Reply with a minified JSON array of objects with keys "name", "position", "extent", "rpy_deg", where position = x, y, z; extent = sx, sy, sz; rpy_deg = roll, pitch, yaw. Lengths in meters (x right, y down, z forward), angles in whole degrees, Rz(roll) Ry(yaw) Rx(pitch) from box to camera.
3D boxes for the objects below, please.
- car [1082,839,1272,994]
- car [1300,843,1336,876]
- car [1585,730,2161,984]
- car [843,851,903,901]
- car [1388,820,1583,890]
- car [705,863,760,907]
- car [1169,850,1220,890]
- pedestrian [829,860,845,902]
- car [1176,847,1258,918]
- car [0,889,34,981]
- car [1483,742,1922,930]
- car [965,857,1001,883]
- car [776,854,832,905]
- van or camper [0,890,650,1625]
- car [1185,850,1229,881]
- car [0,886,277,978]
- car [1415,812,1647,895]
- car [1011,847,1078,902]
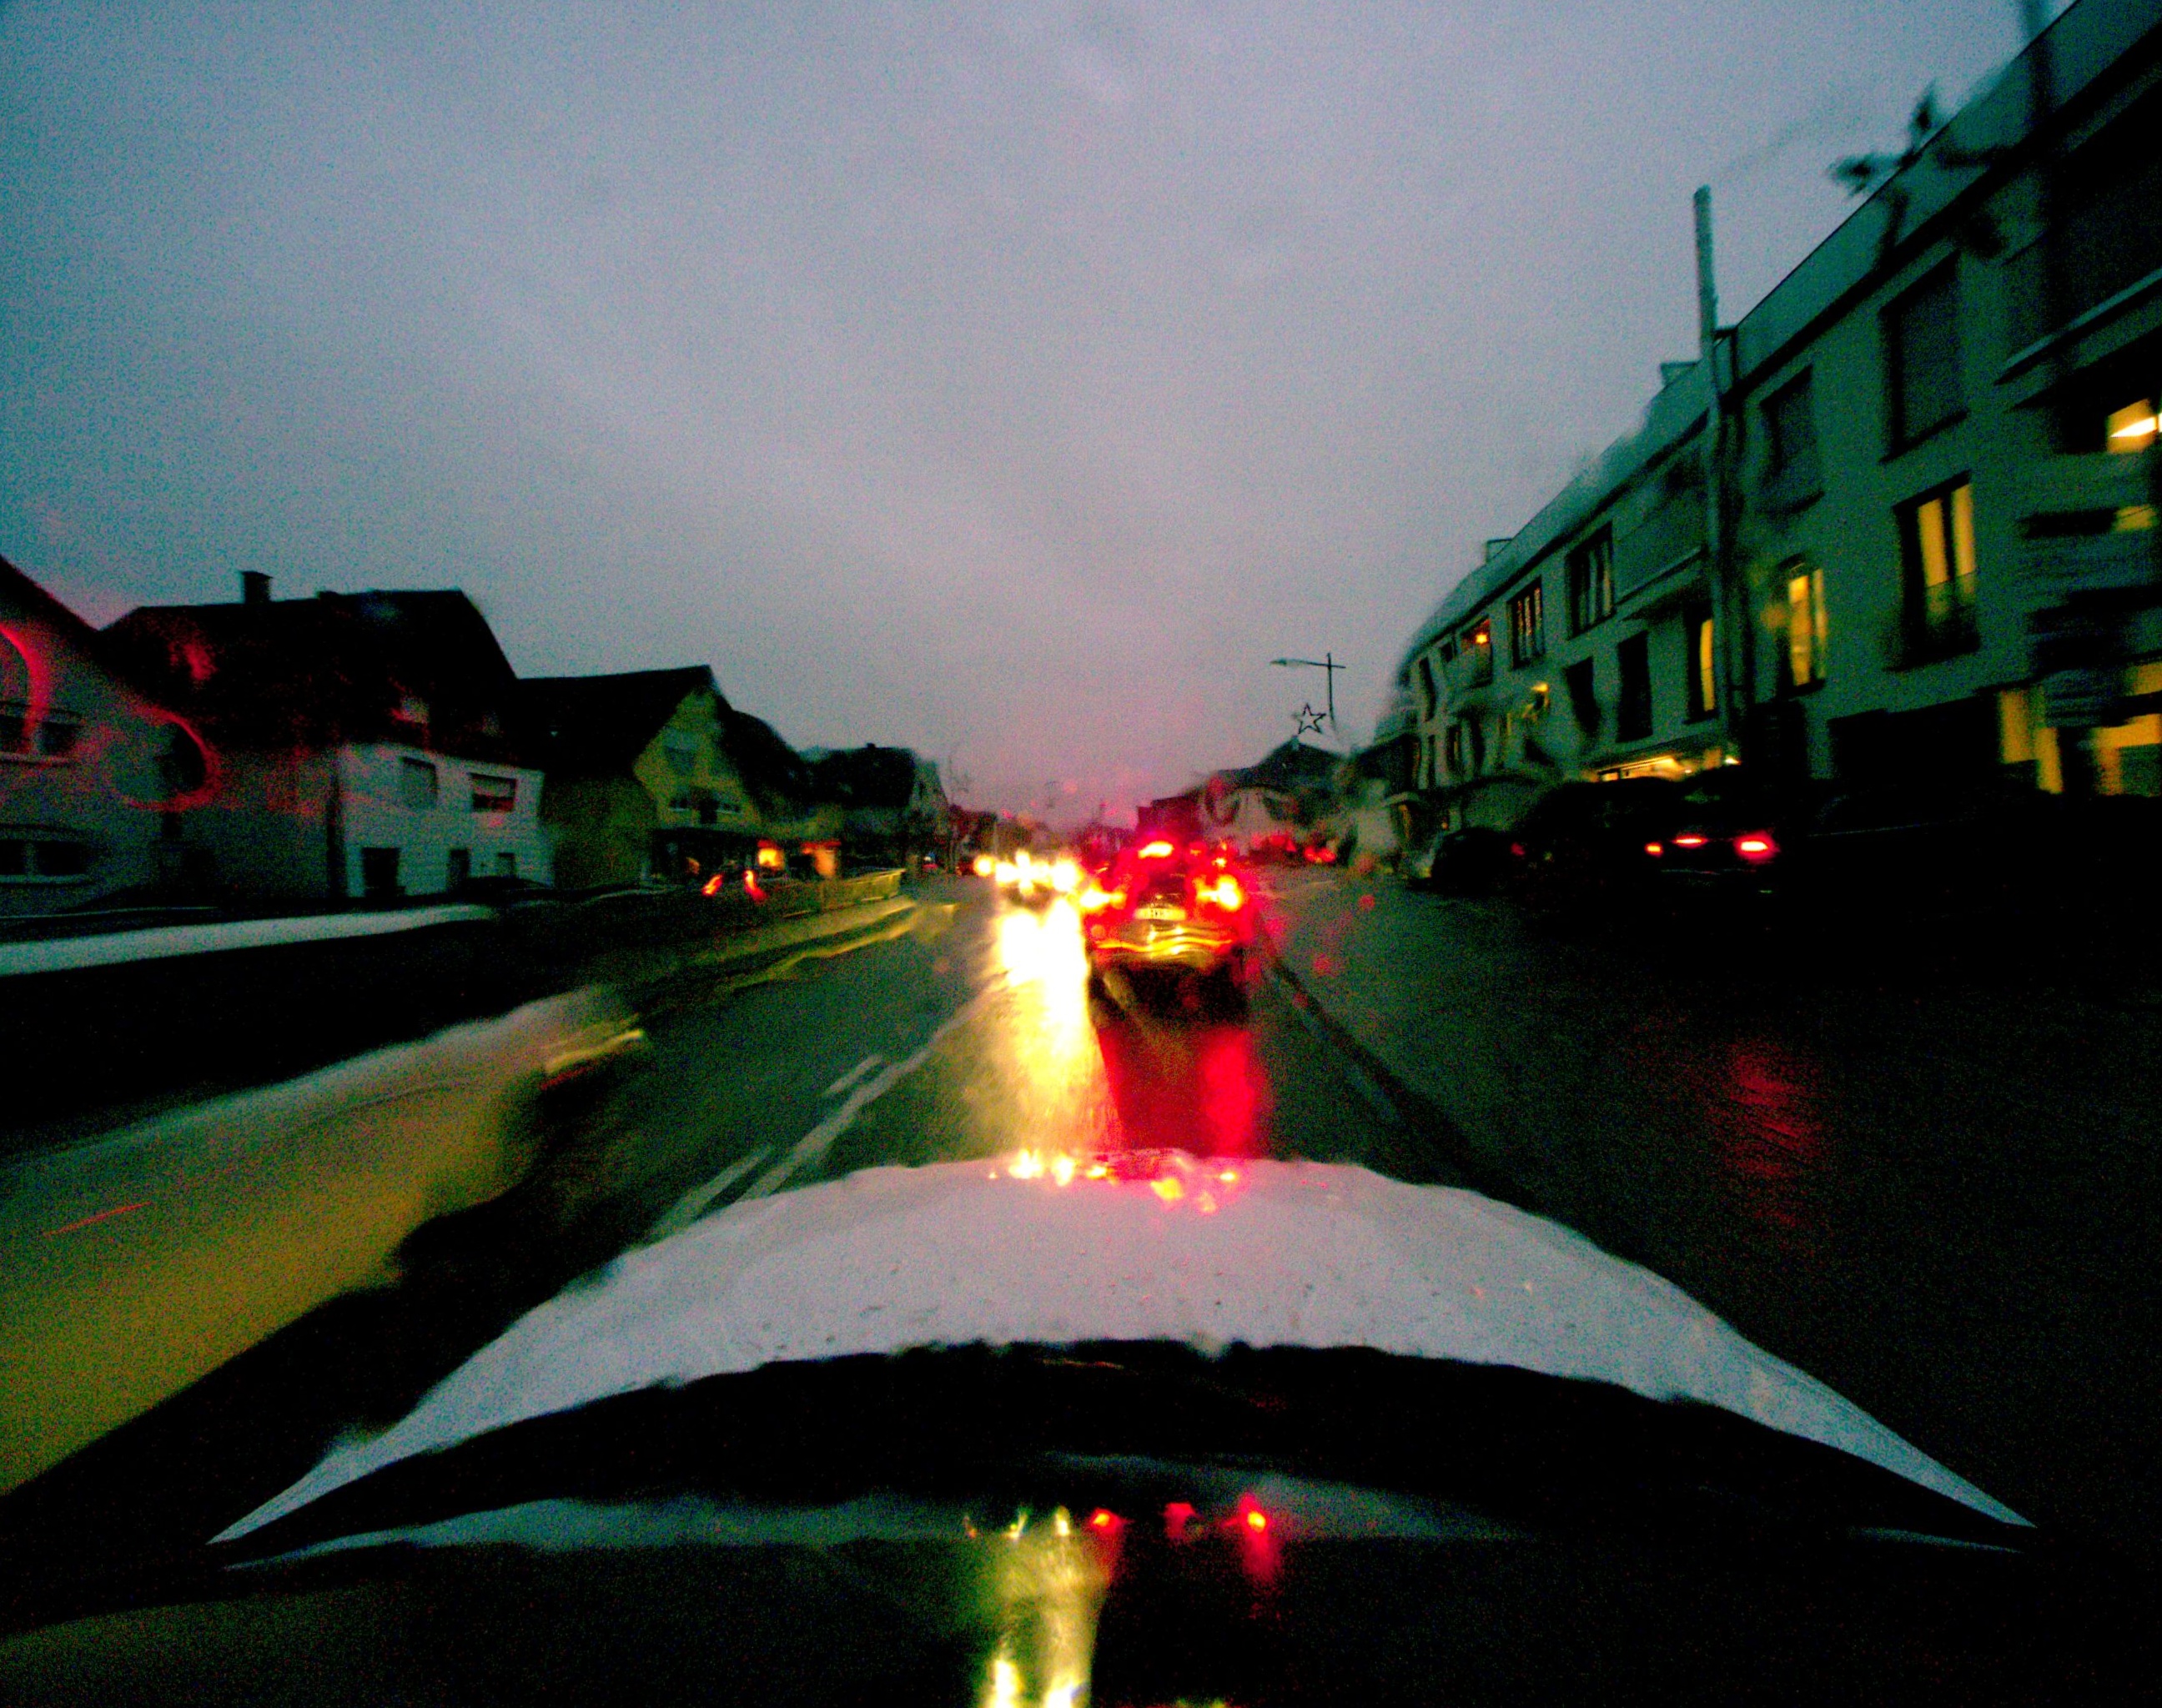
[{"name":"car","position":[1.260,0.643,10.663],"extent":[1.954,1.594,4.322],"rpy_deg":[-1,0,7]},{"name":"car","position":[16.402,0.317,56.430],"extent":[2.141,1.991,4.519],"rpy_deg":[-5,-1,16]},{"name":"car","position":[7.724,0.011,8.107],"extent":[4.165,1.638,1.803],"rpy_deg":[-9,0,-2]},{"name":"car","position":[-8.944,0.915,34.783],"extent":[2.045,1.925,4.028],"rpy_deg":[-2,0,-21]},{"name":"car","position":[10.602,0.034,21.581],"extent":[4.191,1.460,1.793],"rpy_deg":[-5,-1,0]},{"name":"car","position":[-14.516,1.240,34.091],"extent":[1.828,1.613,4.028],"rpy_deg":[-2,0,-20]},{"name":"car","position":[4.344,0.560,30.954],"extent":[1.804,1.412,4.010],"rpy_deg":[-1,0,9]},{"name":"pedestrian","position":[-10.276,1.117,34.269],"extent":[0.497,1.701,0.708],"rpy_deg":[-4,0,-21]},{"name":"car","position":[3.159,0.608,19.456],"extent":[1.673,1.453,4.008],"rpy_deg":[-2,0,7]},{"name":"car","position":[-21.119,1.556,13.536],"extent":[1.904,1.682,4.217],"rpy_deg":[-2,0,0]},{"name":"car","position":[8.630,-0.207,11.723],"extent":[4.542,1.920,1.952],"rpy_deg":[-7,-2,5]},{"name":"car","position":[-7.103,1.147,58.982],"extent":[1.997,1.417,3.982],"rpy_deg":[-5,4,-14]},{"name":"car","position":[-11.615,1.003,33.998],"extent":[2.045,1.925,4.028],"rpy_deg":[-2,0,-21]},{"name":"van or camper","position":[-2.926,0.884,2.206],"extent":[1.556,1.355,3.423],"rpy_deg":[-3,0,2]},{"name":"car","position":[6.190,0.521,40.384],"extent":[1.983,1.391,4.008],"rpy_deg":[-2,0,7]},{"name":"car","position":[-20.942,1.624,18.026],"extent":[1.902,1.562,4.222],"rpy_deg":[-2,0,3]},{"name":"car","position":[10.091,-0.010,18.488],"extent":[4.191,1.460,1.793],"rpy_deg":[-5,-1,0]},{"name":"car","position":[-1.158,0.642,27.492],"extent":[1.729,1.653,4.005],"rpy_deg":[-2,0,4]}]
